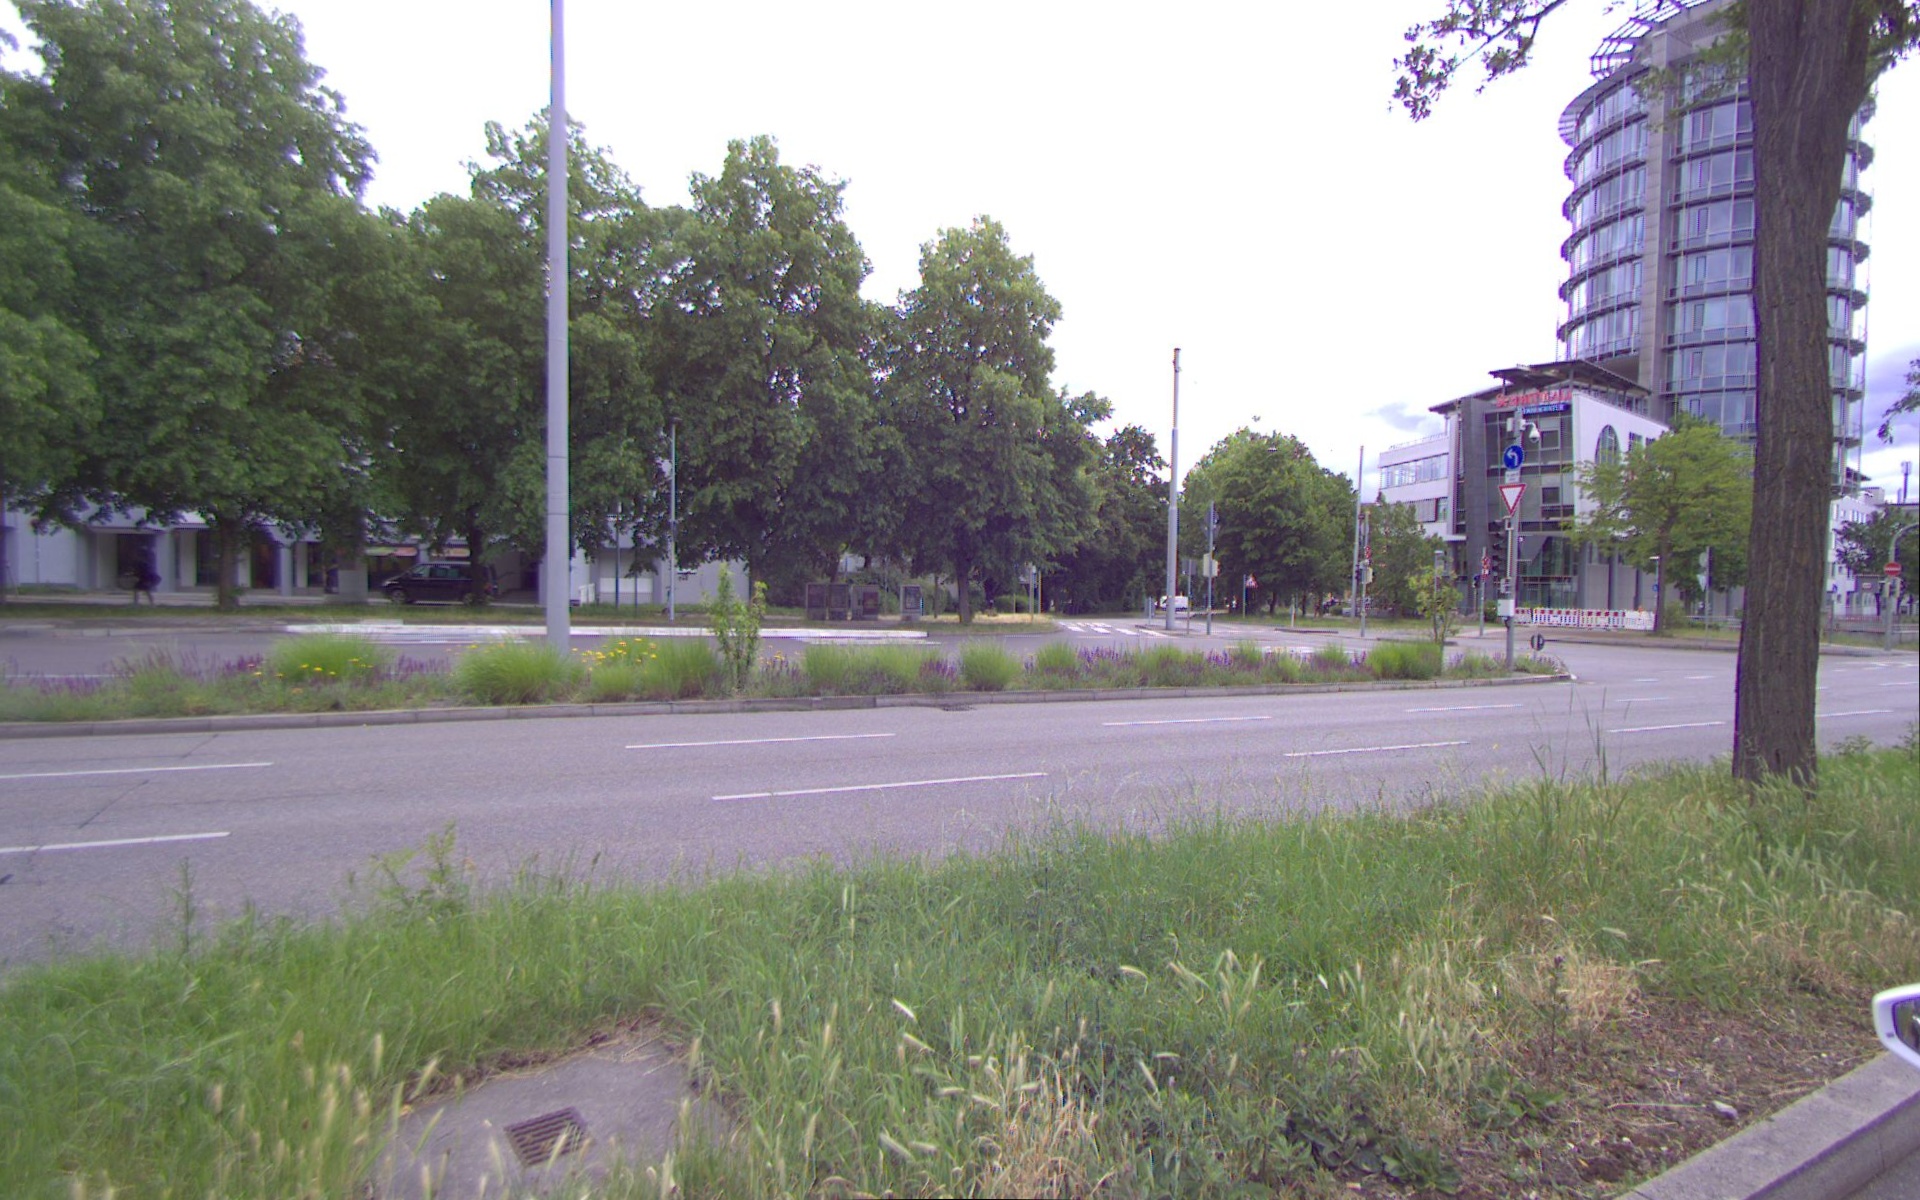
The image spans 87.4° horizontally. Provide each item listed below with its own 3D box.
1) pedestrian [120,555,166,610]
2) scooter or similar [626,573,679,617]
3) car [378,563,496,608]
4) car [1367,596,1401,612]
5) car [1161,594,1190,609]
[{"bbox_3d":[-23.952,-0.503,29.457,0.894,1.578,0.766,1,1,-30],"label":"pedestrian"},{"bbox_3d":[-11.870,-0.187,38.849,1.835,1.686,0.645,1,1,-43],"label":"scooter or similar"},{"bbox_3d":[-23.317,-0.641,44.947,4.345,1.872,1.781,1,1,-16],"label":"car"},{"bbox_3d":[25.040,0.233,59.393,1.684,0.888,0.776,1,0,7],"label":"car"},{"bbox_3d":[37.724,0.252,175.674,4.475,2.370,1.994,2,0,-16],"label":"car"}]
